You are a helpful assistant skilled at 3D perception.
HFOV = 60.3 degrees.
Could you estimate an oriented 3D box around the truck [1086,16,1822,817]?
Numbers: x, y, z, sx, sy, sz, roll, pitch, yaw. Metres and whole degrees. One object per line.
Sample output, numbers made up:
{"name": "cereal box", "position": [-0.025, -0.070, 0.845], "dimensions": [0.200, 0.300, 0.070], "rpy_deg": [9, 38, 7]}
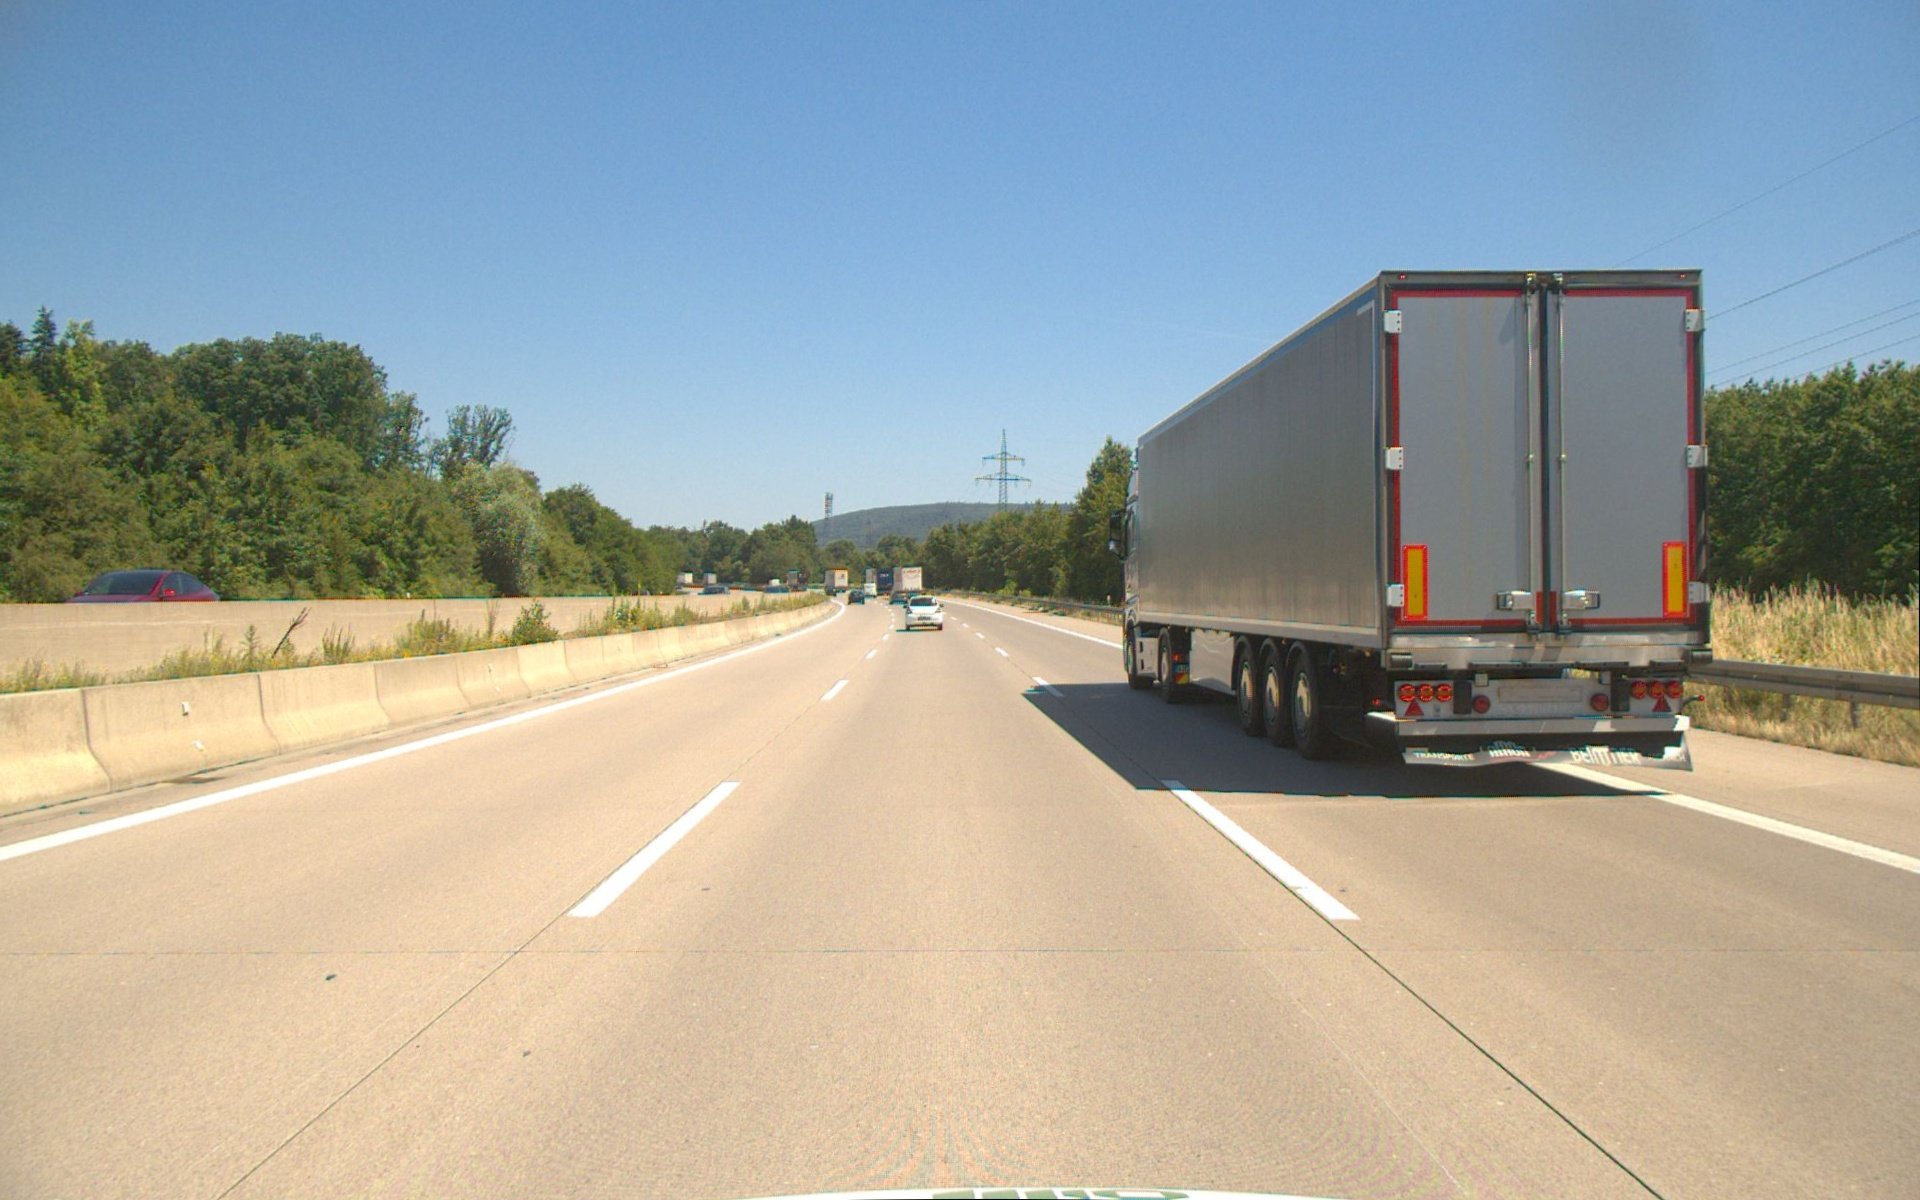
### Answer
{"name": "truck", "position": [4.400, -1.513, 21.507], "dimensions": [3.505, 5.888, 18.242], "rpy_deg": [1, 1, -2]}

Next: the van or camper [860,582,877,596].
{"name": "van or camper", "position": [-12.853, -1.512, 231.658], "dimensions": [1.834, 1.869, 3.989], "rpy_deg": [-2, 1, -11]}

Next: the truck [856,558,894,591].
{"name": "truck", "position": [-13.373, -3.968, 258.836], "dimensions": [3.838, 4.824, 14.012], "rpy_deg": [-2, 1, -11]}

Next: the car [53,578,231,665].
{"name": "car", "position": [-17.078, 0.412, 34.763], "dimensions": [1.763, 1.699, 4.216], "rpy_deg": [0, 0, -2]}

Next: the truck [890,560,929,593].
{"name": "truck", "position": [-6.653, -2.998, 214.336], "dimensions": [3.748, 3.957, 14.132], "rpy_deg": [-2, 1, -7]}

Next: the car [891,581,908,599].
{"name": "car", "position": [-6.196, -1.013, 169.933], "dimensions": [1.578, 1.755, 3.570], "rpy_deg": [-2, 1, -4]}

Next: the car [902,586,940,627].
{"name": "car", "position": [-1.780, 0.256, 74.240], "dimensions": [1.608, 1.691, 3.359], "rpy_deg": [2, 1, -2]}

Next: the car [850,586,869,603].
{"name": "car", "position": [-10.932, -0.637, 179.507], "dimensions": [1.982, 1.730, 3.997], "rpy_deg": [3, 1, -4]}
